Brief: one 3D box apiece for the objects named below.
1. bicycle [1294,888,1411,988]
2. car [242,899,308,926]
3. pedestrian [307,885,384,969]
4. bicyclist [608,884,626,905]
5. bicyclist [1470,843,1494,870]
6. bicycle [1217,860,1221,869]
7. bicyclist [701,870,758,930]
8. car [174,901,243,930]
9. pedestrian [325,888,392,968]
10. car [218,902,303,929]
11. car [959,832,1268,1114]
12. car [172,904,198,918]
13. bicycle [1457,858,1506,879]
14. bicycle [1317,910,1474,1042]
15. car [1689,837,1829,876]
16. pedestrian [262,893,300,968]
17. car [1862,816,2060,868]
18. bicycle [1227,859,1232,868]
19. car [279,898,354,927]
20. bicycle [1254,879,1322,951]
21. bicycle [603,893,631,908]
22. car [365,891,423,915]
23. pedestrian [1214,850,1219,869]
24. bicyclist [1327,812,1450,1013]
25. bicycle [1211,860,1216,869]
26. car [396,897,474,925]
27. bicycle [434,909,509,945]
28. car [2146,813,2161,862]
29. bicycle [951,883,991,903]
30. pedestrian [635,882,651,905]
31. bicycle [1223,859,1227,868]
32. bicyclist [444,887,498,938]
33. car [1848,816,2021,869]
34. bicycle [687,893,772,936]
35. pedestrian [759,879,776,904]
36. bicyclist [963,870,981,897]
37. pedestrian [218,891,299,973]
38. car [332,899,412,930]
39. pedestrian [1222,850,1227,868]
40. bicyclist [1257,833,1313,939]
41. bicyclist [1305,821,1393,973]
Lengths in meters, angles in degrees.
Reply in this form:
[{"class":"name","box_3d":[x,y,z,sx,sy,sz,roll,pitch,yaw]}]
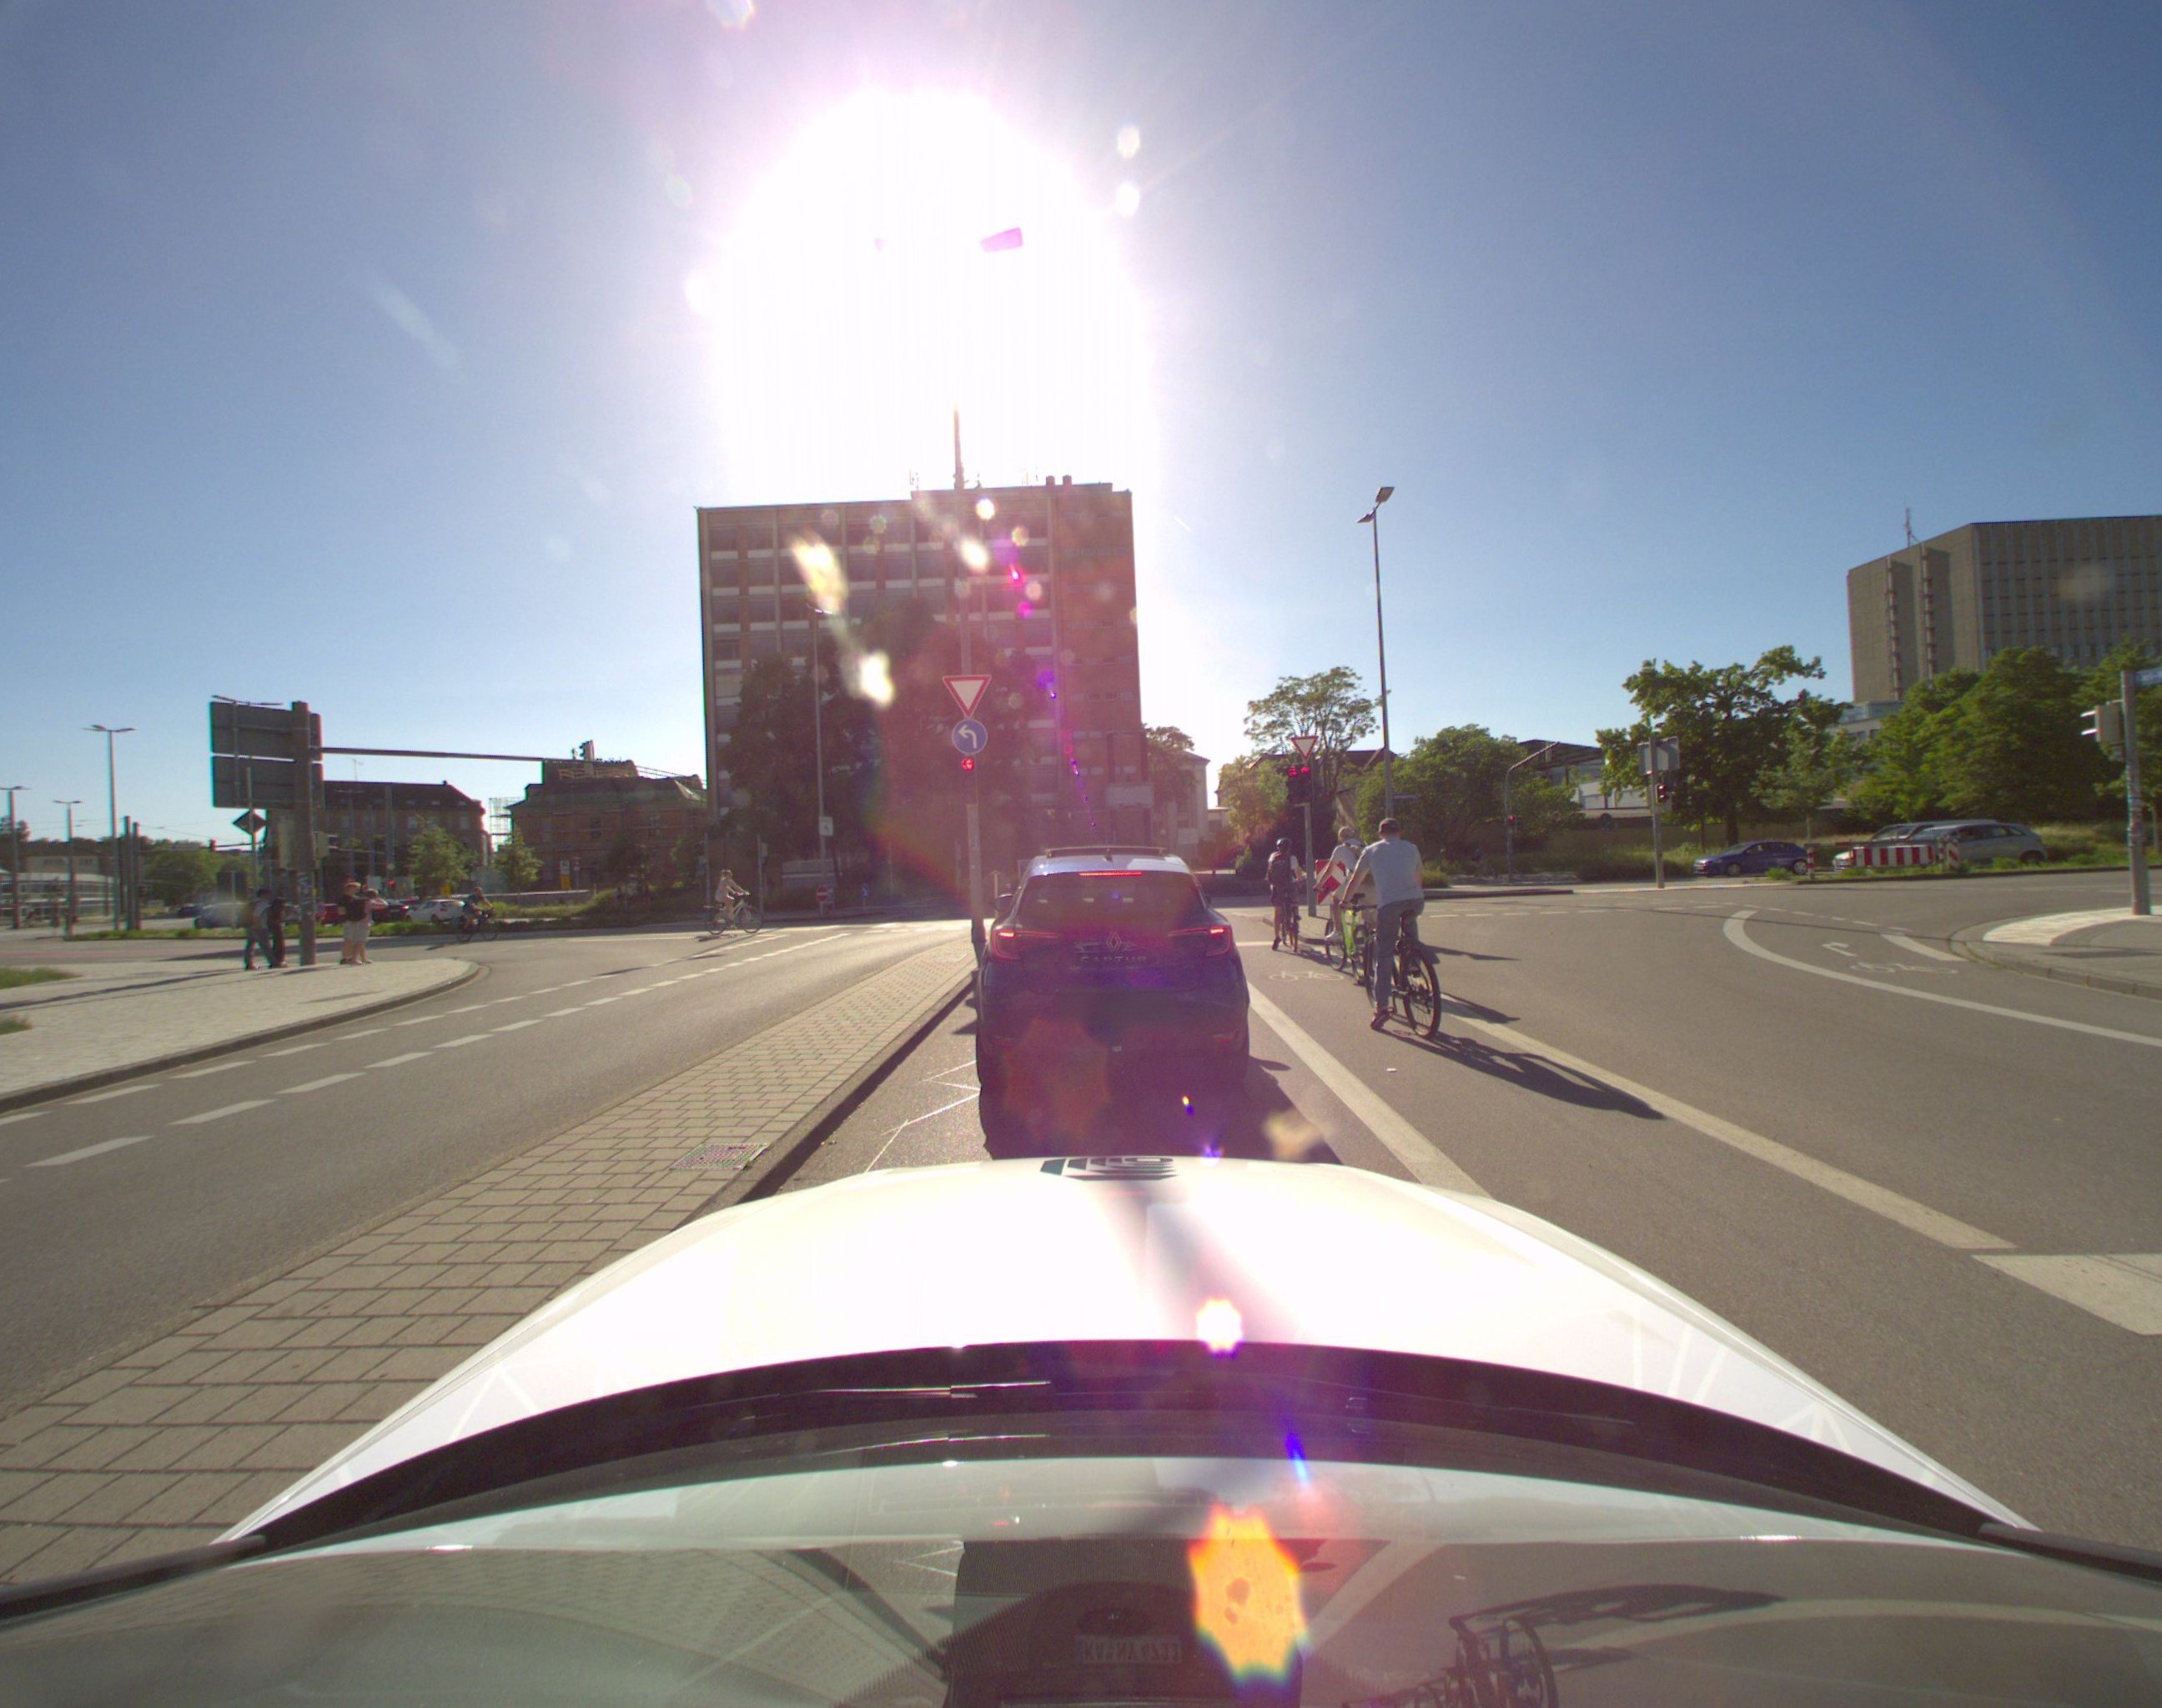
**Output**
[{"class":"bicycle","box_3d":[3.212,0.955,9.850,0.657,1.003,1.967,0,-1,-4]},{"class":"car","box_3d":[-53.819,3.923,54.371,4.331,1.632,1.855,-3,-1,27]},{"class":"pedestrian","box_3d":[-16.959,1.666,18.797,0.696,1.800,1.110,-6,-3,28]},{"class":"bicyclist","box_3d":[-32.691,2.819,57.360,0.928,1.429,0.602,-3,-1,23]},{"class":"bicyclist","box_3d":[19.834,0.119,40.319,0.821,1.316,0.697,-3,1,8]},{"class":"bicycle","box_3d":[15.870,1.225,93.821,0.403,0.973,1.686,0,-1,6]},{"class":"bicyclist","box_3d":[-9.395,1.219,21.777,1.061,1.500,0.744,-4,-1,13]},{"class":"car","box_3d":[-55.164,3.910,51.468,4.331,1.632,1.855,-3,-1,27]},{"class":"pedestrian","box_3d":[-16.297,1.651,18.378,0.786,1.690,0.792,-5,-3,16]},{"class":"car","box_3d":[-49.017,3.680,48.658,4.841,1.388,1.854,-3,-1,23]},{"class":"car","box_3d":[0.202,0.708,6.801,1.798,1.632,3.999,-1,0,0]},{"class":"car","box_3d":[-115.753,7.381,105.165,4.330,1.632,1.856,-3,-1,37]},{"class":"bicycle","box_3d":[19.816,0.713,40.324,2.069,0.930,0.698,-3,1,9]},{"class":"bicycle","box_3d":[2.719,1.014,7.294,0.737,0.896,1.980,0,-1,3]},{"class":"car","box_3d":[28.214,0.100,34.007,4.140,1.435,1.747,-2,-1,8]},{"class":"pedestrian","box_3d":[-19.152,1.812,19.490,0.600,1.729,0.572,-2,-1,-45]},{"class":"car","box_3d":[28.137,-0.360,26.166,4.025,1.408,1.872,-2,-1,8]},{"class":"bicycle","box_3d":[17.183,1.074,94.172,0.403,0.973,1.686,0,-1,6]},{"class":"car","box_3d":[-48.462,3.687,51.645,4.334,1.632,1.854,-3,-1,23]},{"class":"bicycle","box_3d":[3.246,0.927,12.932,0.735,0.995,2.177,0,-1,6]},{"class":"bicycle","box_3d":[-32.674,3.279,57.357,2.057,0.964,0.602,-3,-1,23]},{"class":"car","box_3d":[-50.745,3.636,60.135,4.777,1.632,1.856,-3,-1,32]},{"class":"pedestrian","box_3d":[15.097,0.601,90.856,0.473,2.014,0.524,-2,-1,8]},{"class":"bicyclist","box_3d":[2.711,0.493,7.294,0.748,1.668,1.017,0,-1,3]},{"class":"bicycle","box_3d":[15.253,1.230,93.879,0.403,0.973,1.686,0,-1,6]},{"class":"car","box_3d":[-36.359,3.199,45.838,3.803,1.435,1.752,-2,-1,21]},{"class":"bicycle","box_3d":[-18.356,2.202,24.538,1.969,0.918,0.690,-4,-1,15]},{"class":"car","box_3d":[36.983,-0.624,25.349,4.711,1.584,2.002,-2,-1,4]},{"class":"bicycle","box_3d":[-5.930,2.113,44.025,2.016,0.964,0.593,-2,-1,-25]},{"class":"pedestrian","box_3d":[-31.146,2.818,57.902,0.852,1.571,0.562,-3,-1,22]},{"class":"bicycle","box_3d":[16.648,1.078,94.171,0.403,0.973,1.686,0,-1,6]},{"class":"bicyclist","box_3d":[-18.388,1.753,24.553,1.115,1.422,0.690,-4,-1,15]},{"class":"car","box_3d":[35.249,-0.441,33.760,4.856,2.107,2.002,0,-1,4]},{"class":"bicycle","box_3d":[-9.373,1.612,21.757,1.970,0.995,0.744,-4,-1,14]},{"class":"pedestrian","box_3d":[-20.482,2.455,53.183,0.731,1.603,0.601,-3,-1,21]},{"class":"bicyclist","box_3d":[-5.893,1.597,44.052,0.741,1.441,0.593,-2,-1,-25]},{"class":"pedestrian","box_3d":[-18.245,1.711,18.078,0.900,1.690,0.839,-4,-3,-3]},{"class":"car","box_3d":[-42.578,3.621,48.896,4.334,1.632,1.854,-3,-1,23]},{"class":"pedestrian","box_3d":[16.209,0.603,92.182,0.473,2.014,0.469,-2,-1,8]},{"class":"bicyclist","box_3d":[3.236,0.500,12.986,0.722,1.629,0.970,0,-1,6]},{"class":"bicyclist","box_3d":[3.213,0.494,9.848,0.644,1.739,1.065,0,-1,-4]}]
